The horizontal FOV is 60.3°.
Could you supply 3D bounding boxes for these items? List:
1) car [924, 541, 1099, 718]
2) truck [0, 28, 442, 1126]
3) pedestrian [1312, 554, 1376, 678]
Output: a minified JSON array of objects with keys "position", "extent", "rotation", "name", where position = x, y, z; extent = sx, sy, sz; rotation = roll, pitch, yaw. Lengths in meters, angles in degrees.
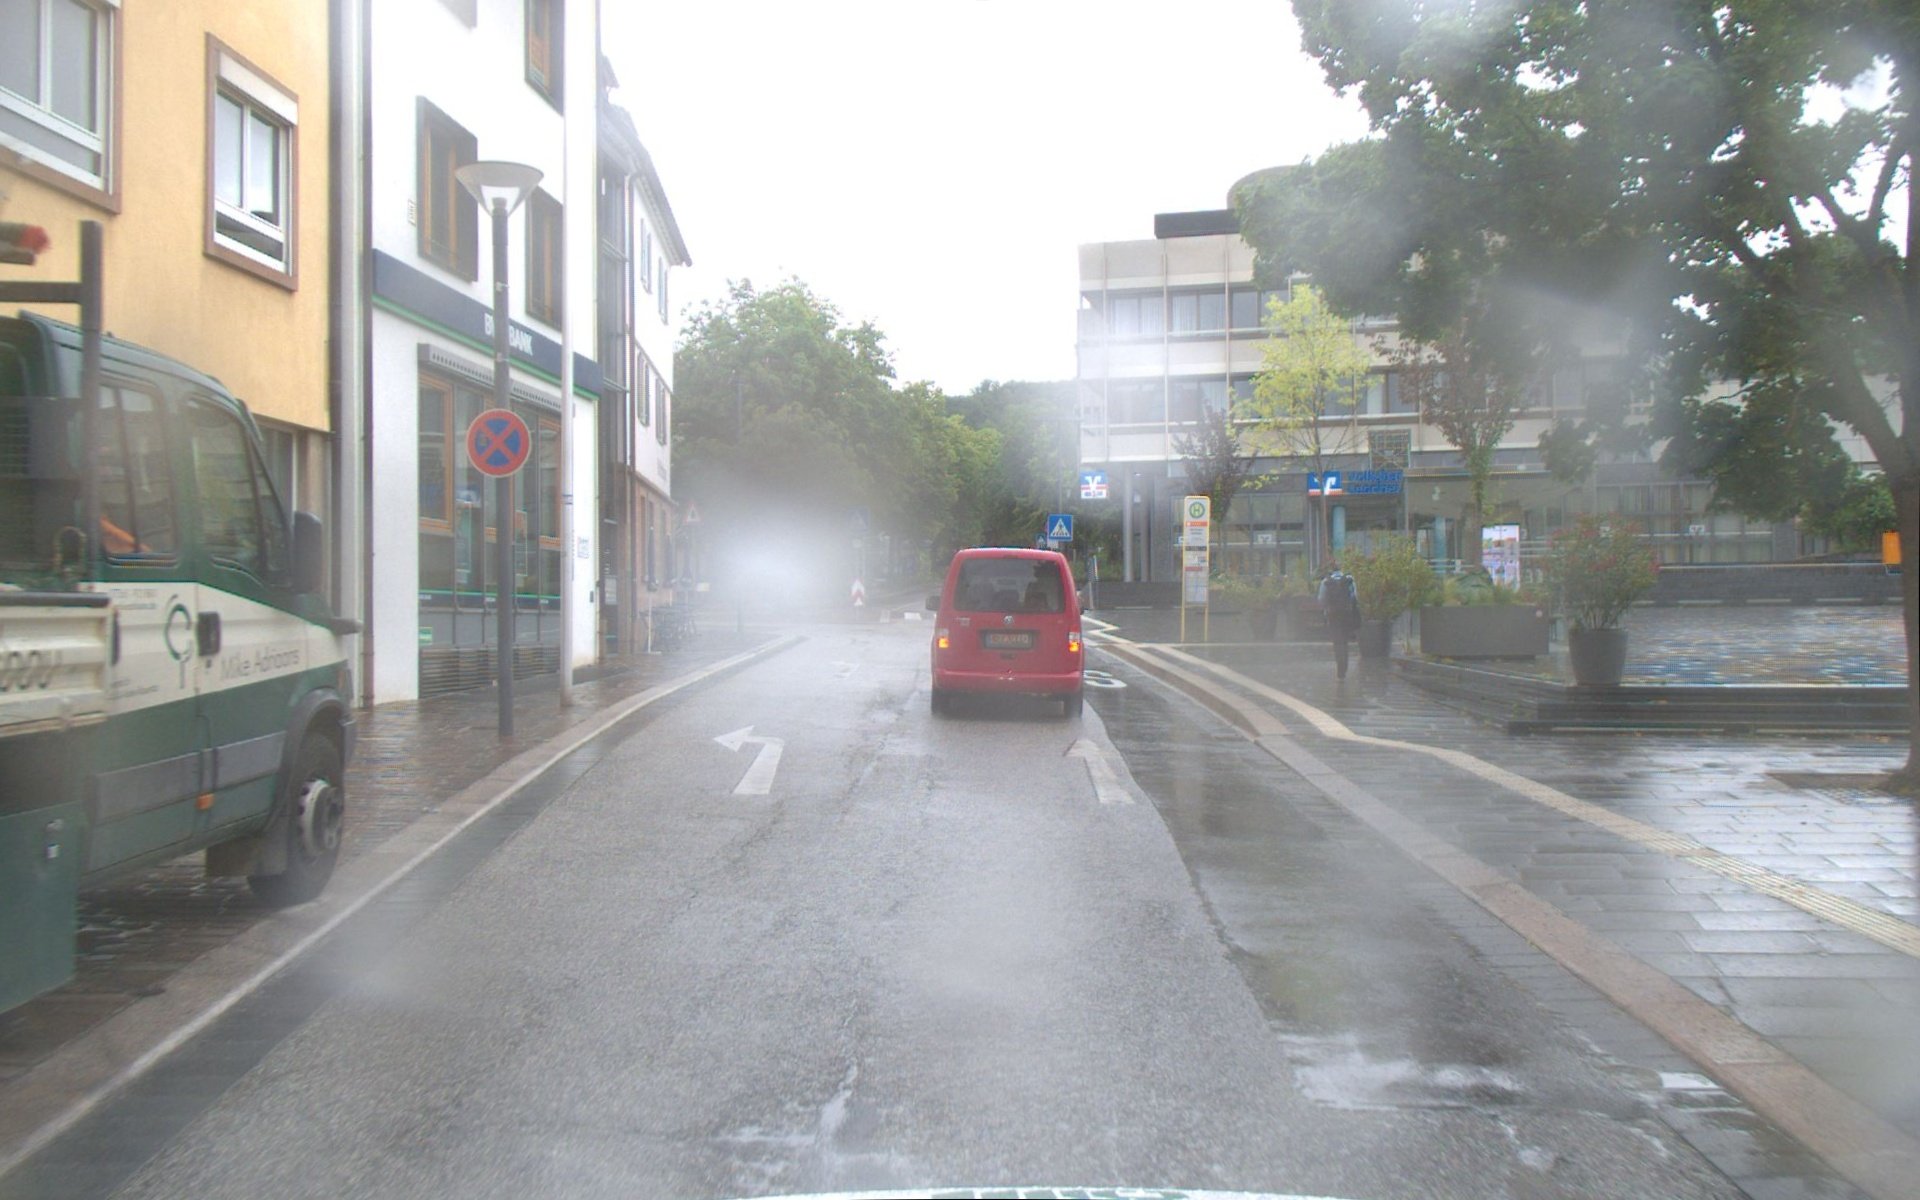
[{"position":[0.506,0.299,19.674],"extent":[1.824,1.862,4.184],"rotation":[-1,0,-2],"name":"car"},{"position":[-3.739,-0.071,5.095],"extent":[2.424,2.843,6.597],"rotation":[-1,1,-3],"name":"truck"},{"position":[5.231,0.210,22.547],"extent":[0.712,1.645,0.694],"rotation":[-1,0,5],"name":"pedestrian"}]
